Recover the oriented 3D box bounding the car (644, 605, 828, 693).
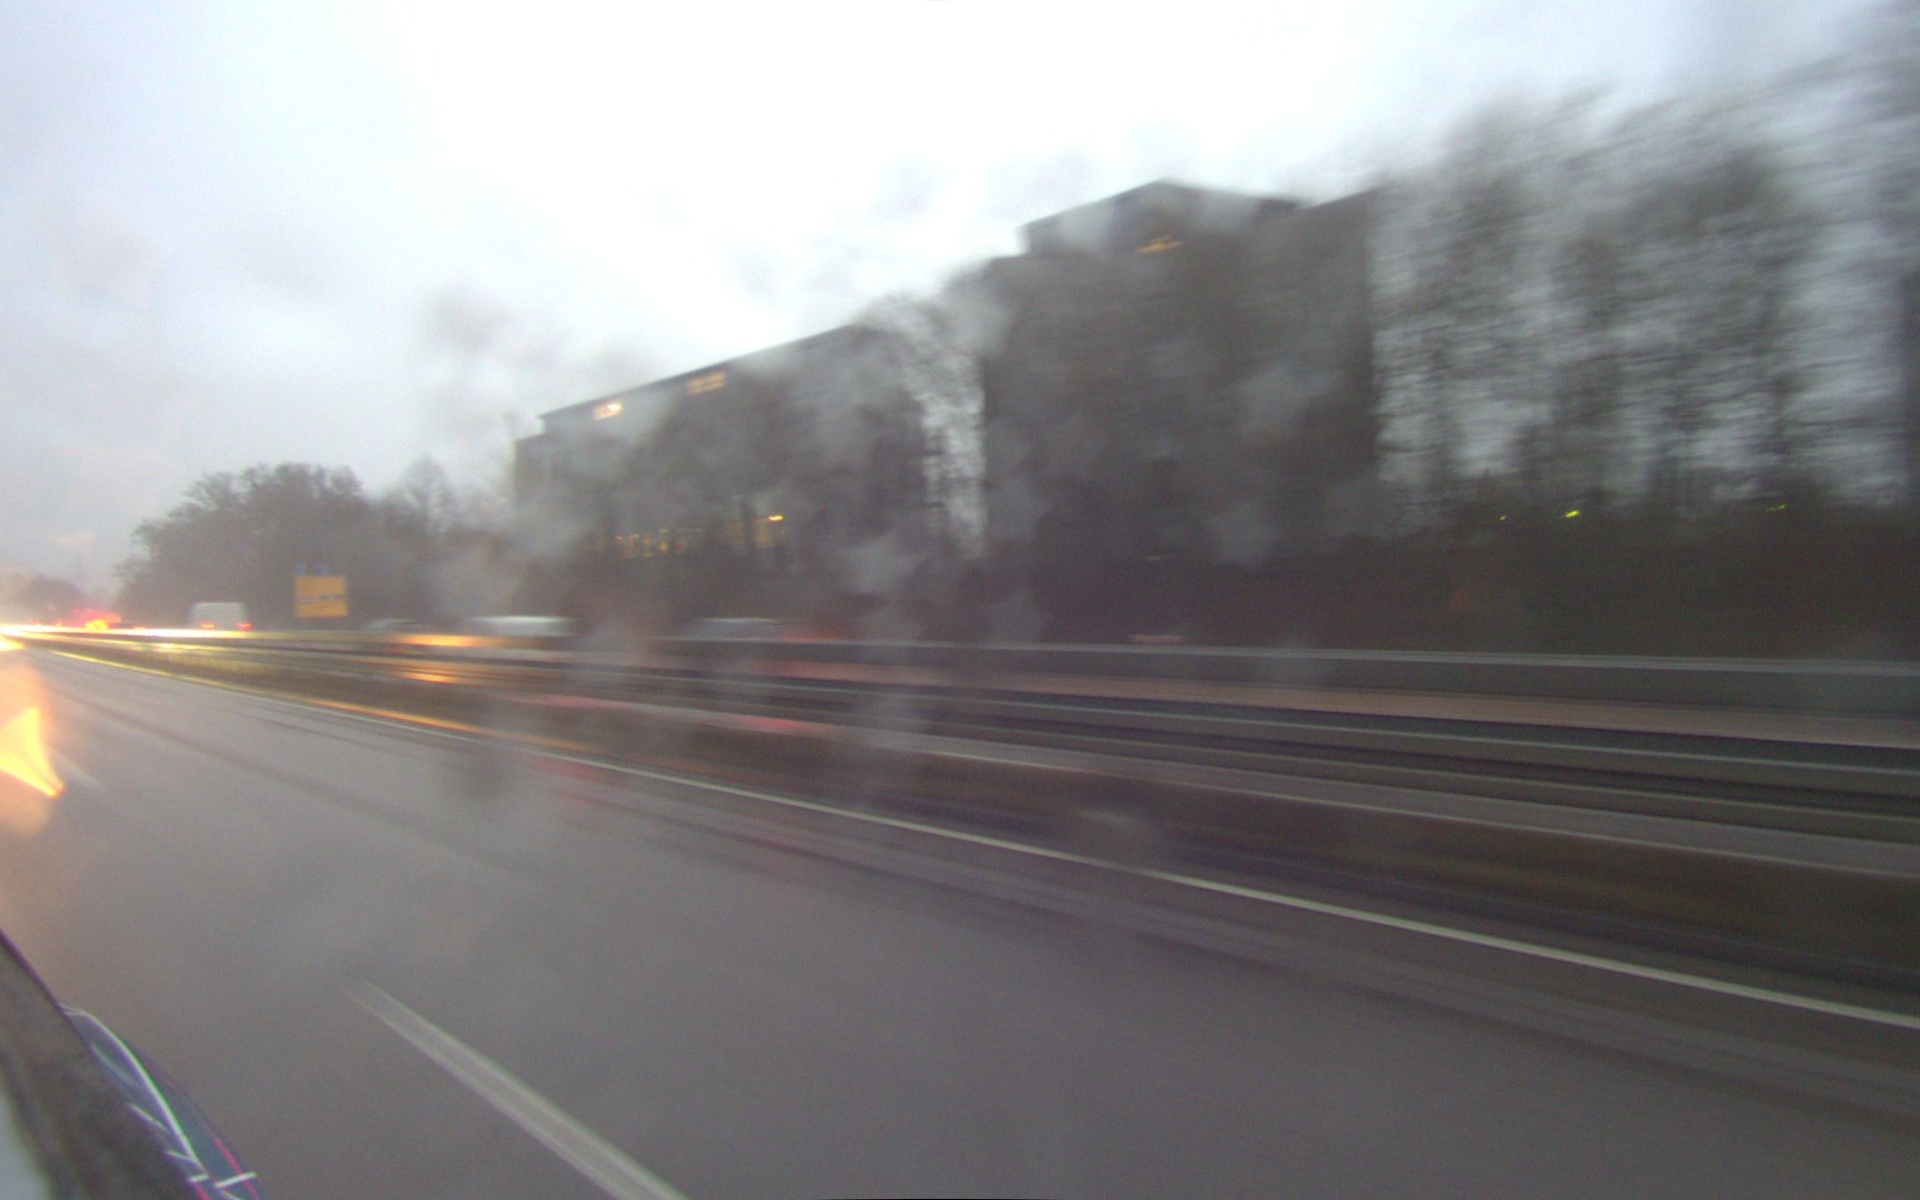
[{"bbox_3d":[-5.416,1.078,23.970,1.970,1.766,4.904,-4,2,-43],"label":"car"}]

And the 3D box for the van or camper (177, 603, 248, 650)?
[{"bbox_3d":[-45.484,1.629,61.496,7.403,2.590,2.054,-2,2,43],"label":"van or camper"}]

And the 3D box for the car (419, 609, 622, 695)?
[{"bbox_3d":[-9.558,1.051,21.747,5.374,1.537,1.972,-2,2,43],"label":"car"}]

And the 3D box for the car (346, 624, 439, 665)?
[{"bbox_3d":[-21.548,1.649,38.362,4.209,1.370,1.875,-2,2,44],"label":"car"}]
